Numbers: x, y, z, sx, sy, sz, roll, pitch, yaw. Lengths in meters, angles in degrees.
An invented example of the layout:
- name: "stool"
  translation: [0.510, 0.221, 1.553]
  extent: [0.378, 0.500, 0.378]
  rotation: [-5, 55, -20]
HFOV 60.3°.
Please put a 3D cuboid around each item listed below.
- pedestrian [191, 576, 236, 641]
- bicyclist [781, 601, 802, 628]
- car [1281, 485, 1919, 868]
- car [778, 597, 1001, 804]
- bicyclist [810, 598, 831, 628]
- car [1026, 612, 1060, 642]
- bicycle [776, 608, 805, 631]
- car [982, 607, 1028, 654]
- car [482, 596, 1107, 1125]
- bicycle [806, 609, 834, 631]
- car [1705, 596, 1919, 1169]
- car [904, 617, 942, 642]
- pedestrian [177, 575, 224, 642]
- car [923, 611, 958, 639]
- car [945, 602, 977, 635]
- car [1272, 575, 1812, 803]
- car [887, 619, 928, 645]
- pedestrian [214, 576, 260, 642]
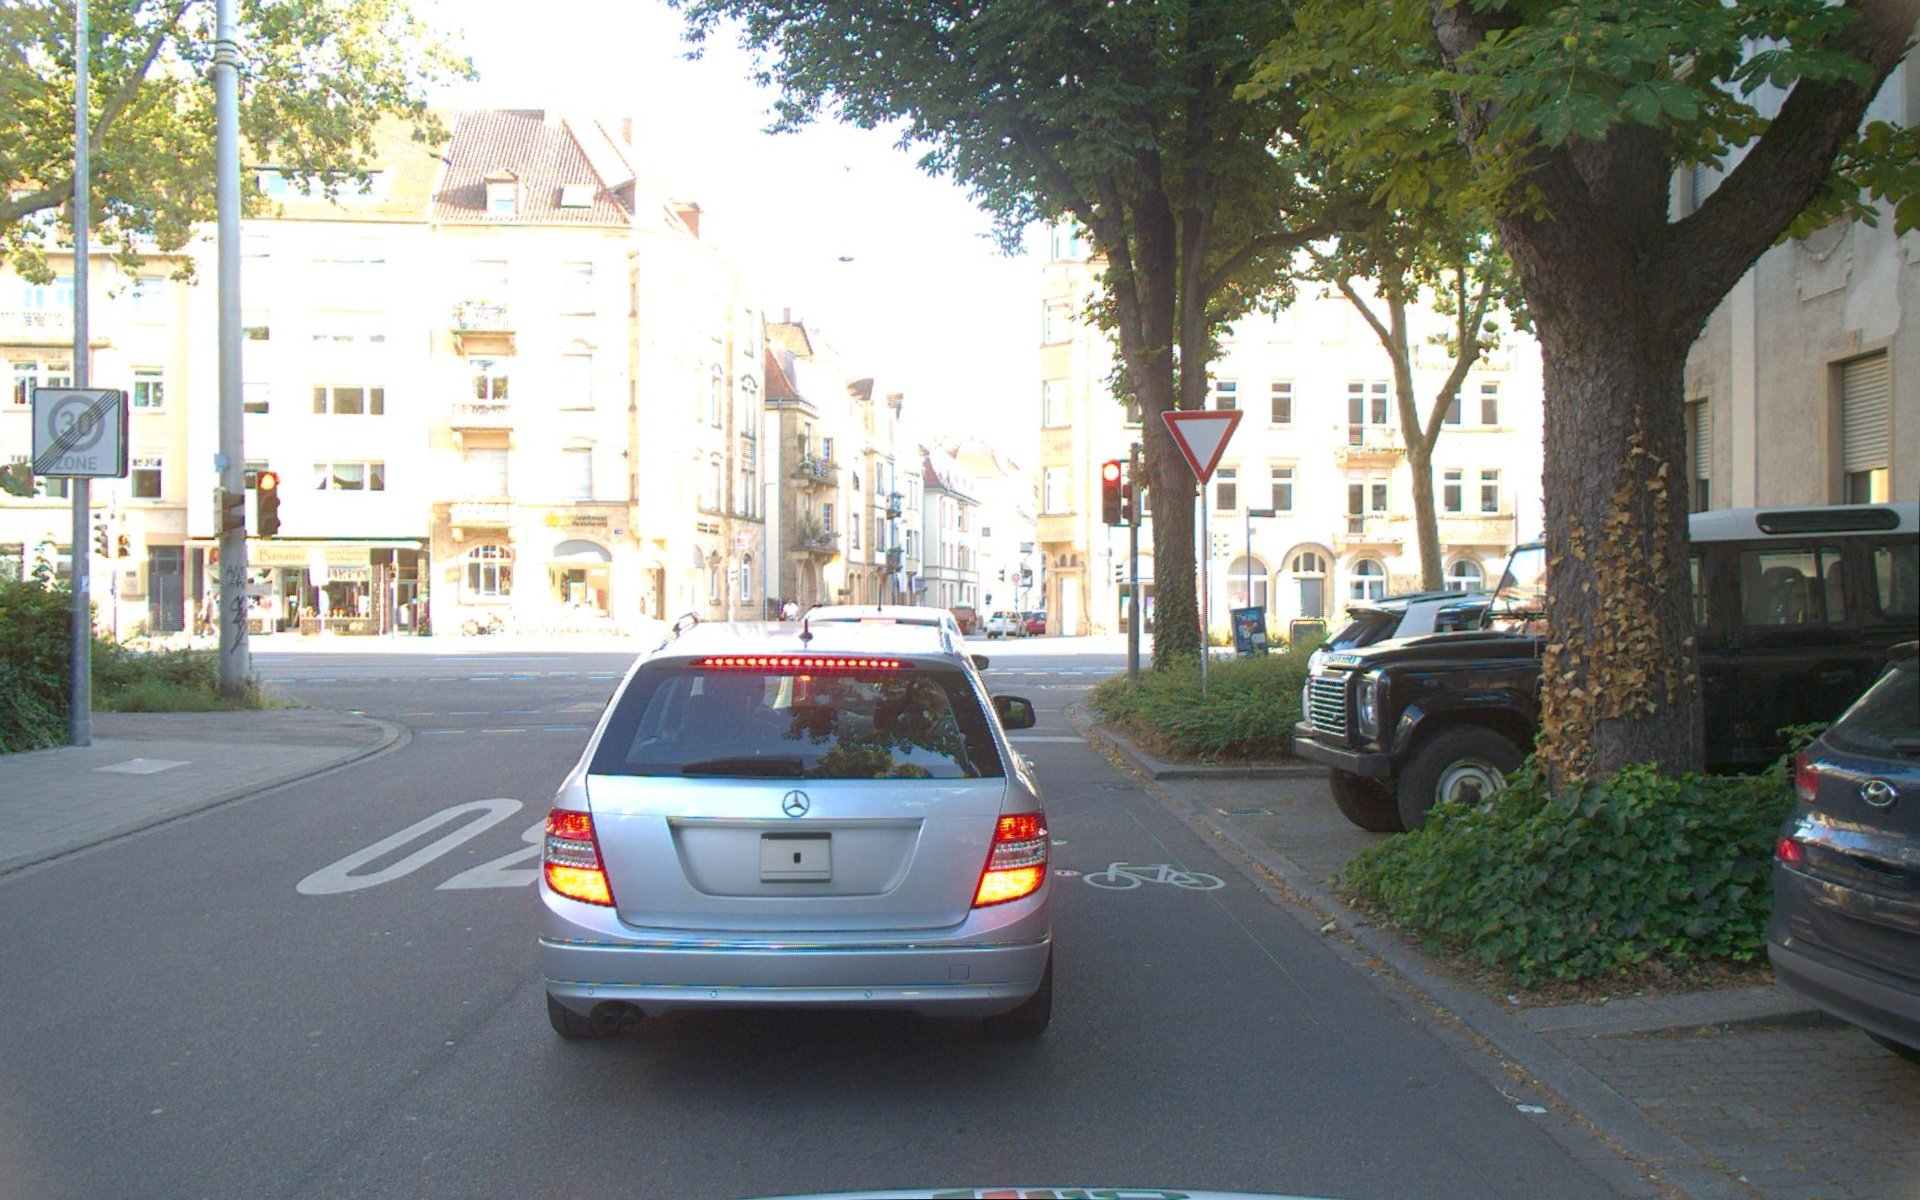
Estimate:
- name: "pedestrian"
  translation: [-29.052, 0.321, 64.387]
  extent: [1.320, 2.507, 1.059]
  rotation: [0, 0, -5]
- name: "bicyclist"
  translation: [-7.481, 0.632, 73.332]
  extent: [0.754, 1.177, 0.753]
  rotation: [1, 0, 10]
- name: "car"
  translation: [4.369, 0.407, 10.176]
  extent: [4.377, 2.072, 1.699]
  rotation: [-1, 0, -4]
- name: "car"
  translation: [-0.591, 0.725, 14.025]
  extent: [1.587, 1.472, 4.342]
  rotation: [1, 0, -2]
- name: "bicyclist"
  translation: [-6.201, 0.573, 73.362]
  extent: [0.754, 1.312, 0.753]
  rotation: [1, 0, 10]
- name: "car"
  translation: [5.127, 1.637, 101.979]
  extent: [1.796, 1.775, 4.003]
  rotation: [0, 1, 7]
- name: "bicycle"
  translation: [-7.499, 0.858, 73.253]
  extent: [0.754, 0.956, 1.942]
  rotation: [1, 0, 10]
- name: "car"
  translation: [2.362, 1.538, 85.906]
  extent: [1.987, 2.319, 4.003]
  rotation: [0, 1, 7]
- name: "car"
  translation: [-0.552, 0.736, 6.936]
  extent: [1.741, 1.477, 4.546]
  rotation: [1, 0, -2]
- name: "bicycle"
  translation: [-6.203, 0.872, 73.361]
  extent: [0.754, 0.950, 1.942]
  rotation: [1, 0, 10]
- name: "car"
  translation: [4.283, 0.698, 4.598]
  extent: [3.650, 1.477, 1.707]
  rotation: [-1, 0, -4]
- name: "car"
  translation: [-2.263, 1.807, 102.464]
  extent: [1.796, 1.427, 4.003]
  rotation: [0, 1, 7]
- name: "pedestrian"
  translation: [-28.761, 0.303, 62.623]
  extent: [1.320, 2.507, 1.059]
  rotation: [0, 0, -5]
- name: "car"
  translation: [-1.259, 1.616, 108.712]
  extent: [1.796, 1.692, 4.003]
  rotation: [0, 1, 7]
- name: "car"
  translation: [0.094, 1.262, 117.326]
  extent: [1.749, 2.242, 4.003]
  rotation: [0, 1, 7]
- name: "car"
  translation: [4.510, 0.654, 13.144]
  extent: [3.650, 1.597, 1.707]
  rotation: [-1, 0, -4]
- name: "car"
  translation: [-3.063, 1.857, 96.960]
  extent: [1.796, 1.427, 4.003]
  rotation: [0, 1, 7]
- name: "pedestrian"
  translation: [-27.743, 0.339, 63.499]
  extent: [1.320, 2.507, 1.059]
  rotation: [0, 0, -5]
